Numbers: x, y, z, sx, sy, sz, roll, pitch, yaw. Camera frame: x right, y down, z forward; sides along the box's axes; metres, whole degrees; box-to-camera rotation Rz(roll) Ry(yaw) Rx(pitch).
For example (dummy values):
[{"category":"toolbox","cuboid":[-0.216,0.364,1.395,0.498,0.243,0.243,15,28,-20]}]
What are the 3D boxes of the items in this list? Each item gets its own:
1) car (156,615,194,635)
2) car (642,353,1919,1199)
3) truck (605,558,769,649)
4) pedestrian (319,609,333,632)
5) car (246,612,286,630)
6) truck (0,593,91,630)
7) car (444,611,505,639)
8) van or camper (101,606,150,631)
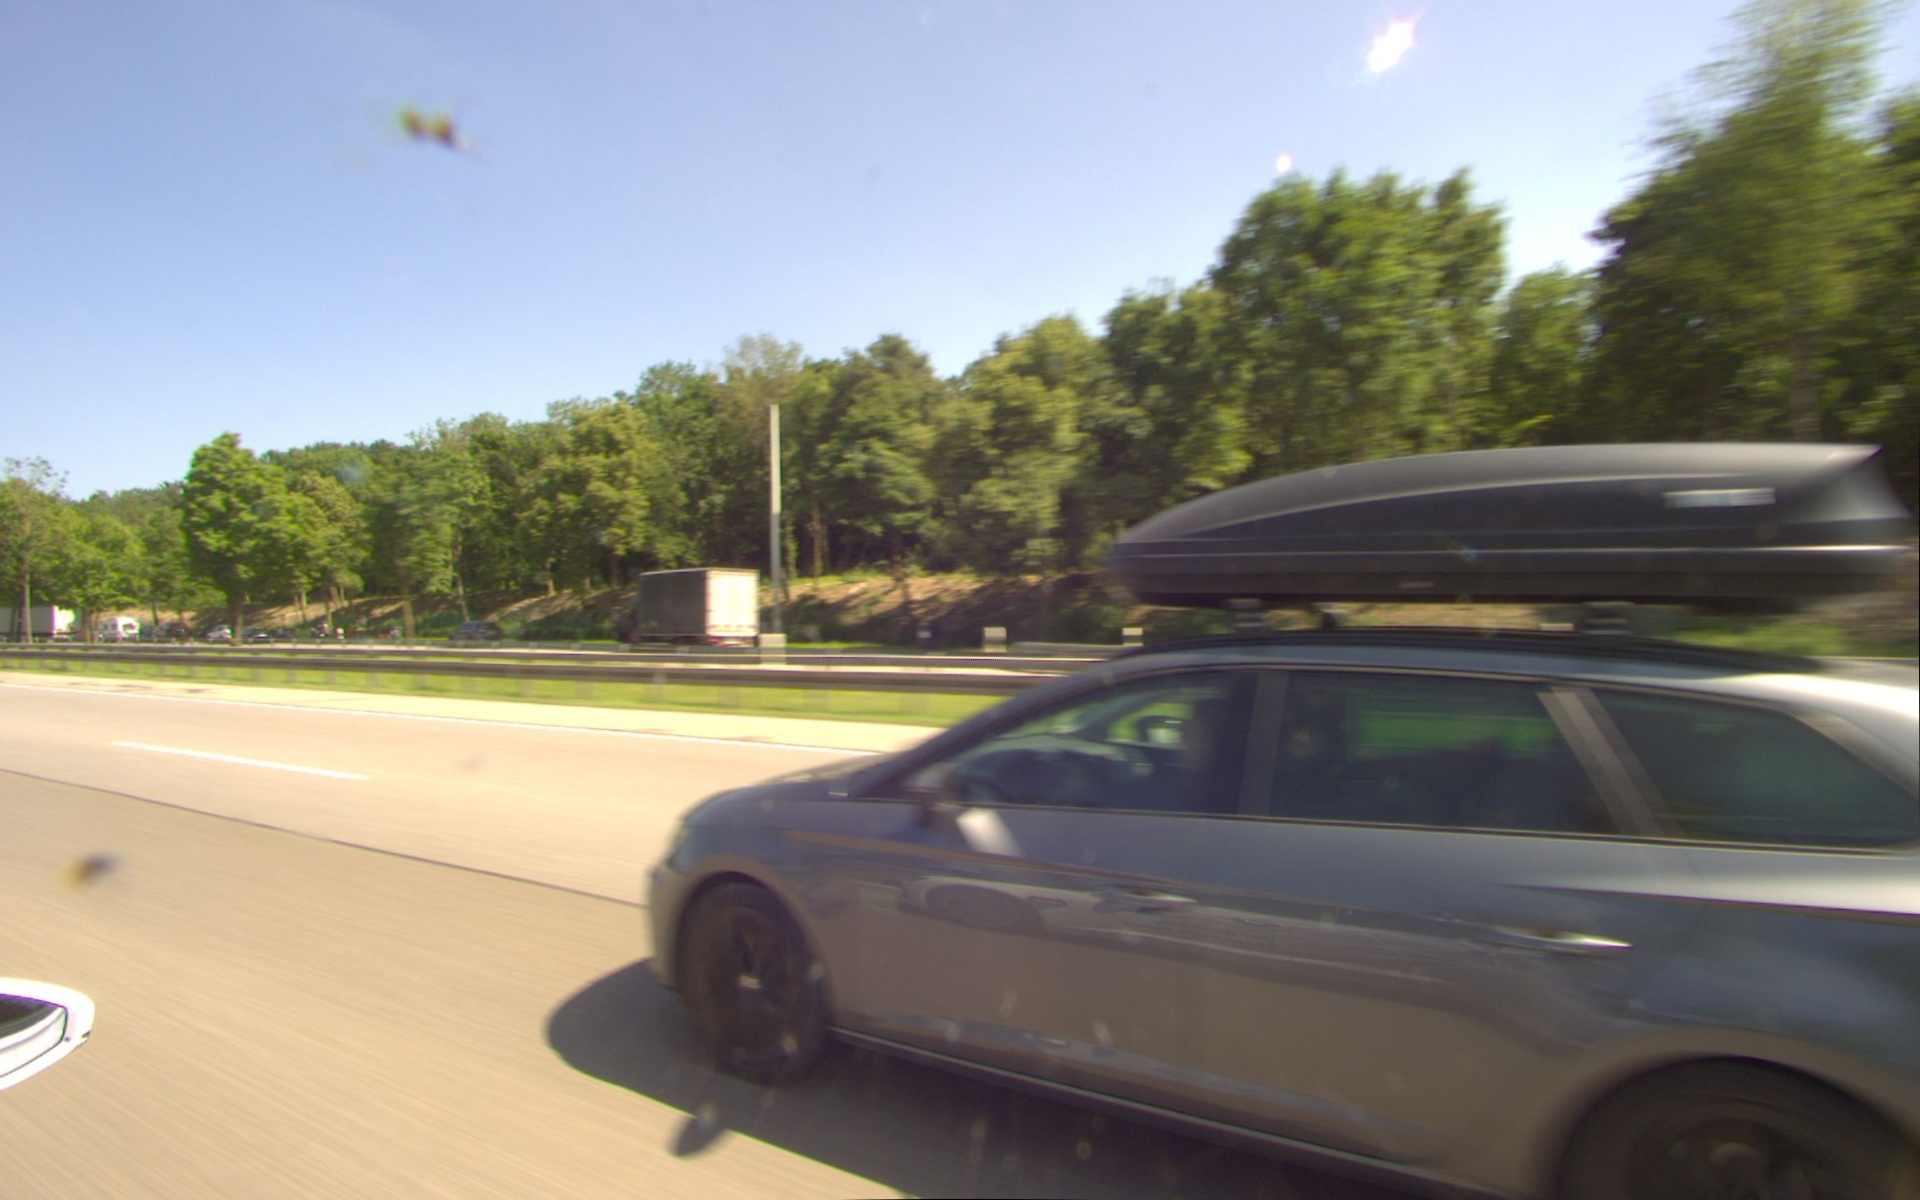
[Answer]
[{"category":"car","cuboid":[-74.900,2.359,95.556,4.738,1.902,1.650,-1,0,37]},{"category":"car","cuboid":[1.413,0.525,2.807,4.756,1.901,1.662,0,1,31]},{"category":"truck","cuboid":[-13.316,0.170,48.279,9.249,4.000,3.266,0,1,43]},{"category":"pedestrian","cuboid":[-50.730,1.629,80.130,0.793,1.806,0.636,-1,1,-45]},{"category":"car","cuboid":[-60.691,1.824,87.535,3.954,1.595,1.984,-1,0,41]},{"category":"truck","cuboid":[-103.207,1.388,112.889,14.234,3.983,2.994,-1,0,28]},{"category":"car","cuboid":[-31.099,1.562,64.075,4.268,1.673,1.983,0,1,41]},{"category":"van or camper","cuboid":[-85.364,1.896,102.449,5.791,2.564,2.199,-1,0,32]}]
